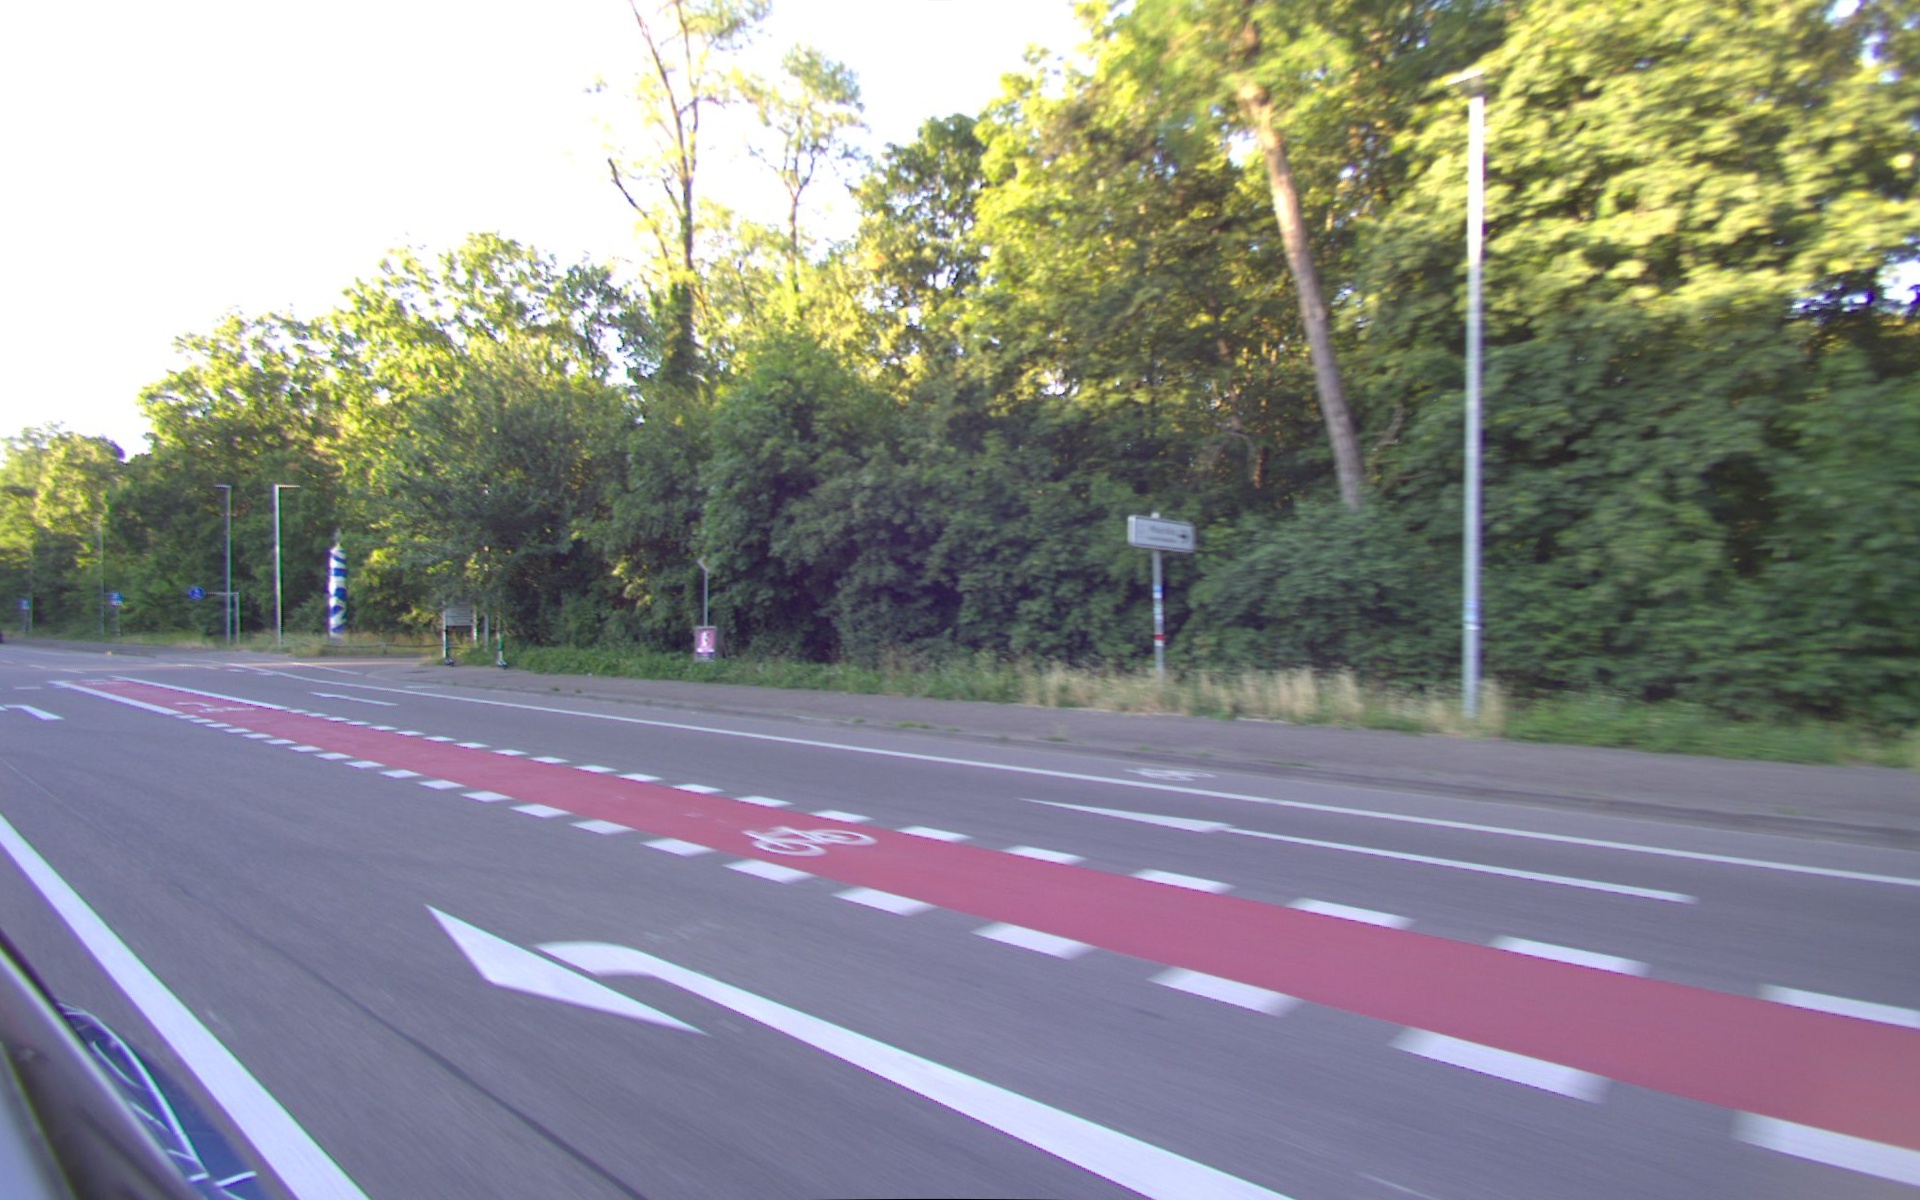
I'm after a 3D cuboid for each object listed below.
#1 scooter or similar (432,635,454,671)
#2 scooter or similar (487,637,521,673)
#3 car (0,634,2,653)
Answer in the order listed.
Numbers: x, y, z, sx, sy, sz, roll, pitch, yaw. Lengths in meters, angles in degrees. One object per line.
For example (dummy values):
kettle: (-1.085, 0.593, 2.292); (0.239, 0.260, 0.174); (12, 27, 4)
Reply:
scooter or similar: (-16.834, 1.720, 32.980); (0.356, 1.118, 0.881); (0, -2, -7)
scooter or similar: (-13.997, 1.679, 31.107); (0.491, 1.076, 0.895); (-1, -2, 16)
car: (-75.466, 3.313, 77.951); (4.234, 1.473, 1.672); (-1, -3, 36)
